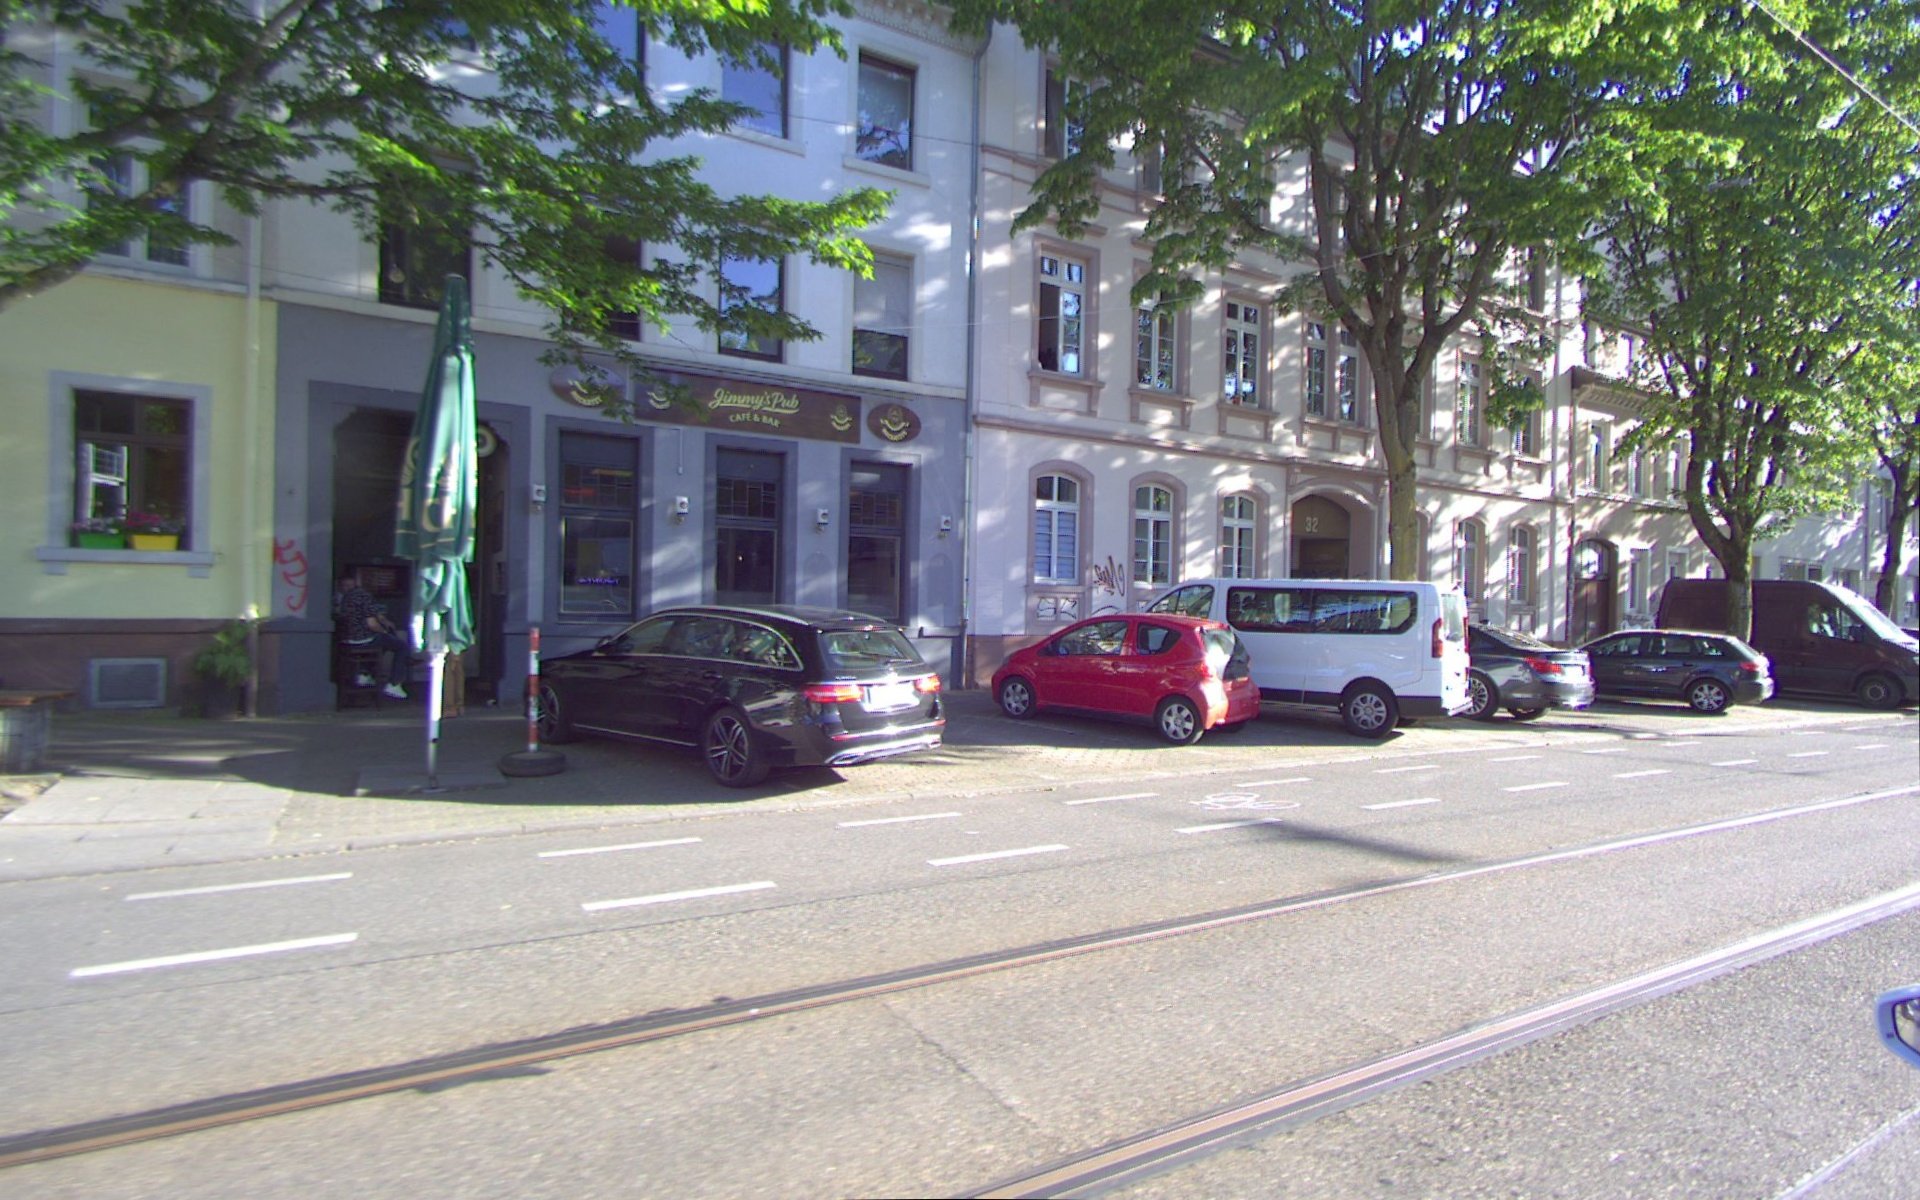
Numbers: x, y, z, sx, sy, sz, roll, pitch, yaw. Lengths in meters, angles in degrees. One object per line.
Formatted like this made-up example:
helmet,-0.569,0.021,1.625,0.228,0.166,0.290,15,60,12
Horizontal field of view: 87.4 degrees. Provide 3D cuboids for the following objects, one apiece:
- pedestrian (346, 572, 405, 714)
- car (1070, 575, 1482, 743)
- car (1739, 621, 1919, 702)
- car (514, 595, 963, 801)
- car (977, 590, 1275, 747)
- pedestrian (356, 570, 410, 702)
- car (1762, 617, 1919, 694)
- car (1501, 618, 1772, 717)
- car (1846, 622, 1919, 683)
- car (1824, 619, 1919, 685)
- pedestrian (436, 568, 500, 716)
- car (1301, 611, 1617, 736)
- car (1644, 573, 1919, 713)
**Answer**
pedestrian,-7.098,0.517,12.195,0.564,1.665,0.535,1,-1,-33
car,4.381,0.700,14.387,5.261,2.018,2.031,1,0,36
car,20.821,1.400,23.246,1.812,1.629,4.056,2,0,-37
car,-2.308,0.768,9.762,4.570,1.510,1.682,1,-1,37
car,2.065,0.776,12.854,3.274,1.523,1.681,6,2,39
pedestrian,-7.516,0.464,13.079,0.564,1.665,0.535,1,-1,-33
car,22.856,1.390,25.058,1.812,1.629,4.056,2,2,-37
car,12.974,1.208,19.405,4.042,1.438,1.818,5,2,43
car,28.427,1.595,28.908,1.812,1.629,4.056,2,2,-37
car,26.431,1.490,27.350,1.812,1.629,4.056,2,2,-37
pedestrian,-5.930,0.498,12.100,0.536,1.737,0.498,2,-1,-45
car,7.735,1.050,15.906,1.812,1.438,4.055,2,2,-38
car,18.623,0.830,22.285,2.222,2.612,5.149,2,2,-33
